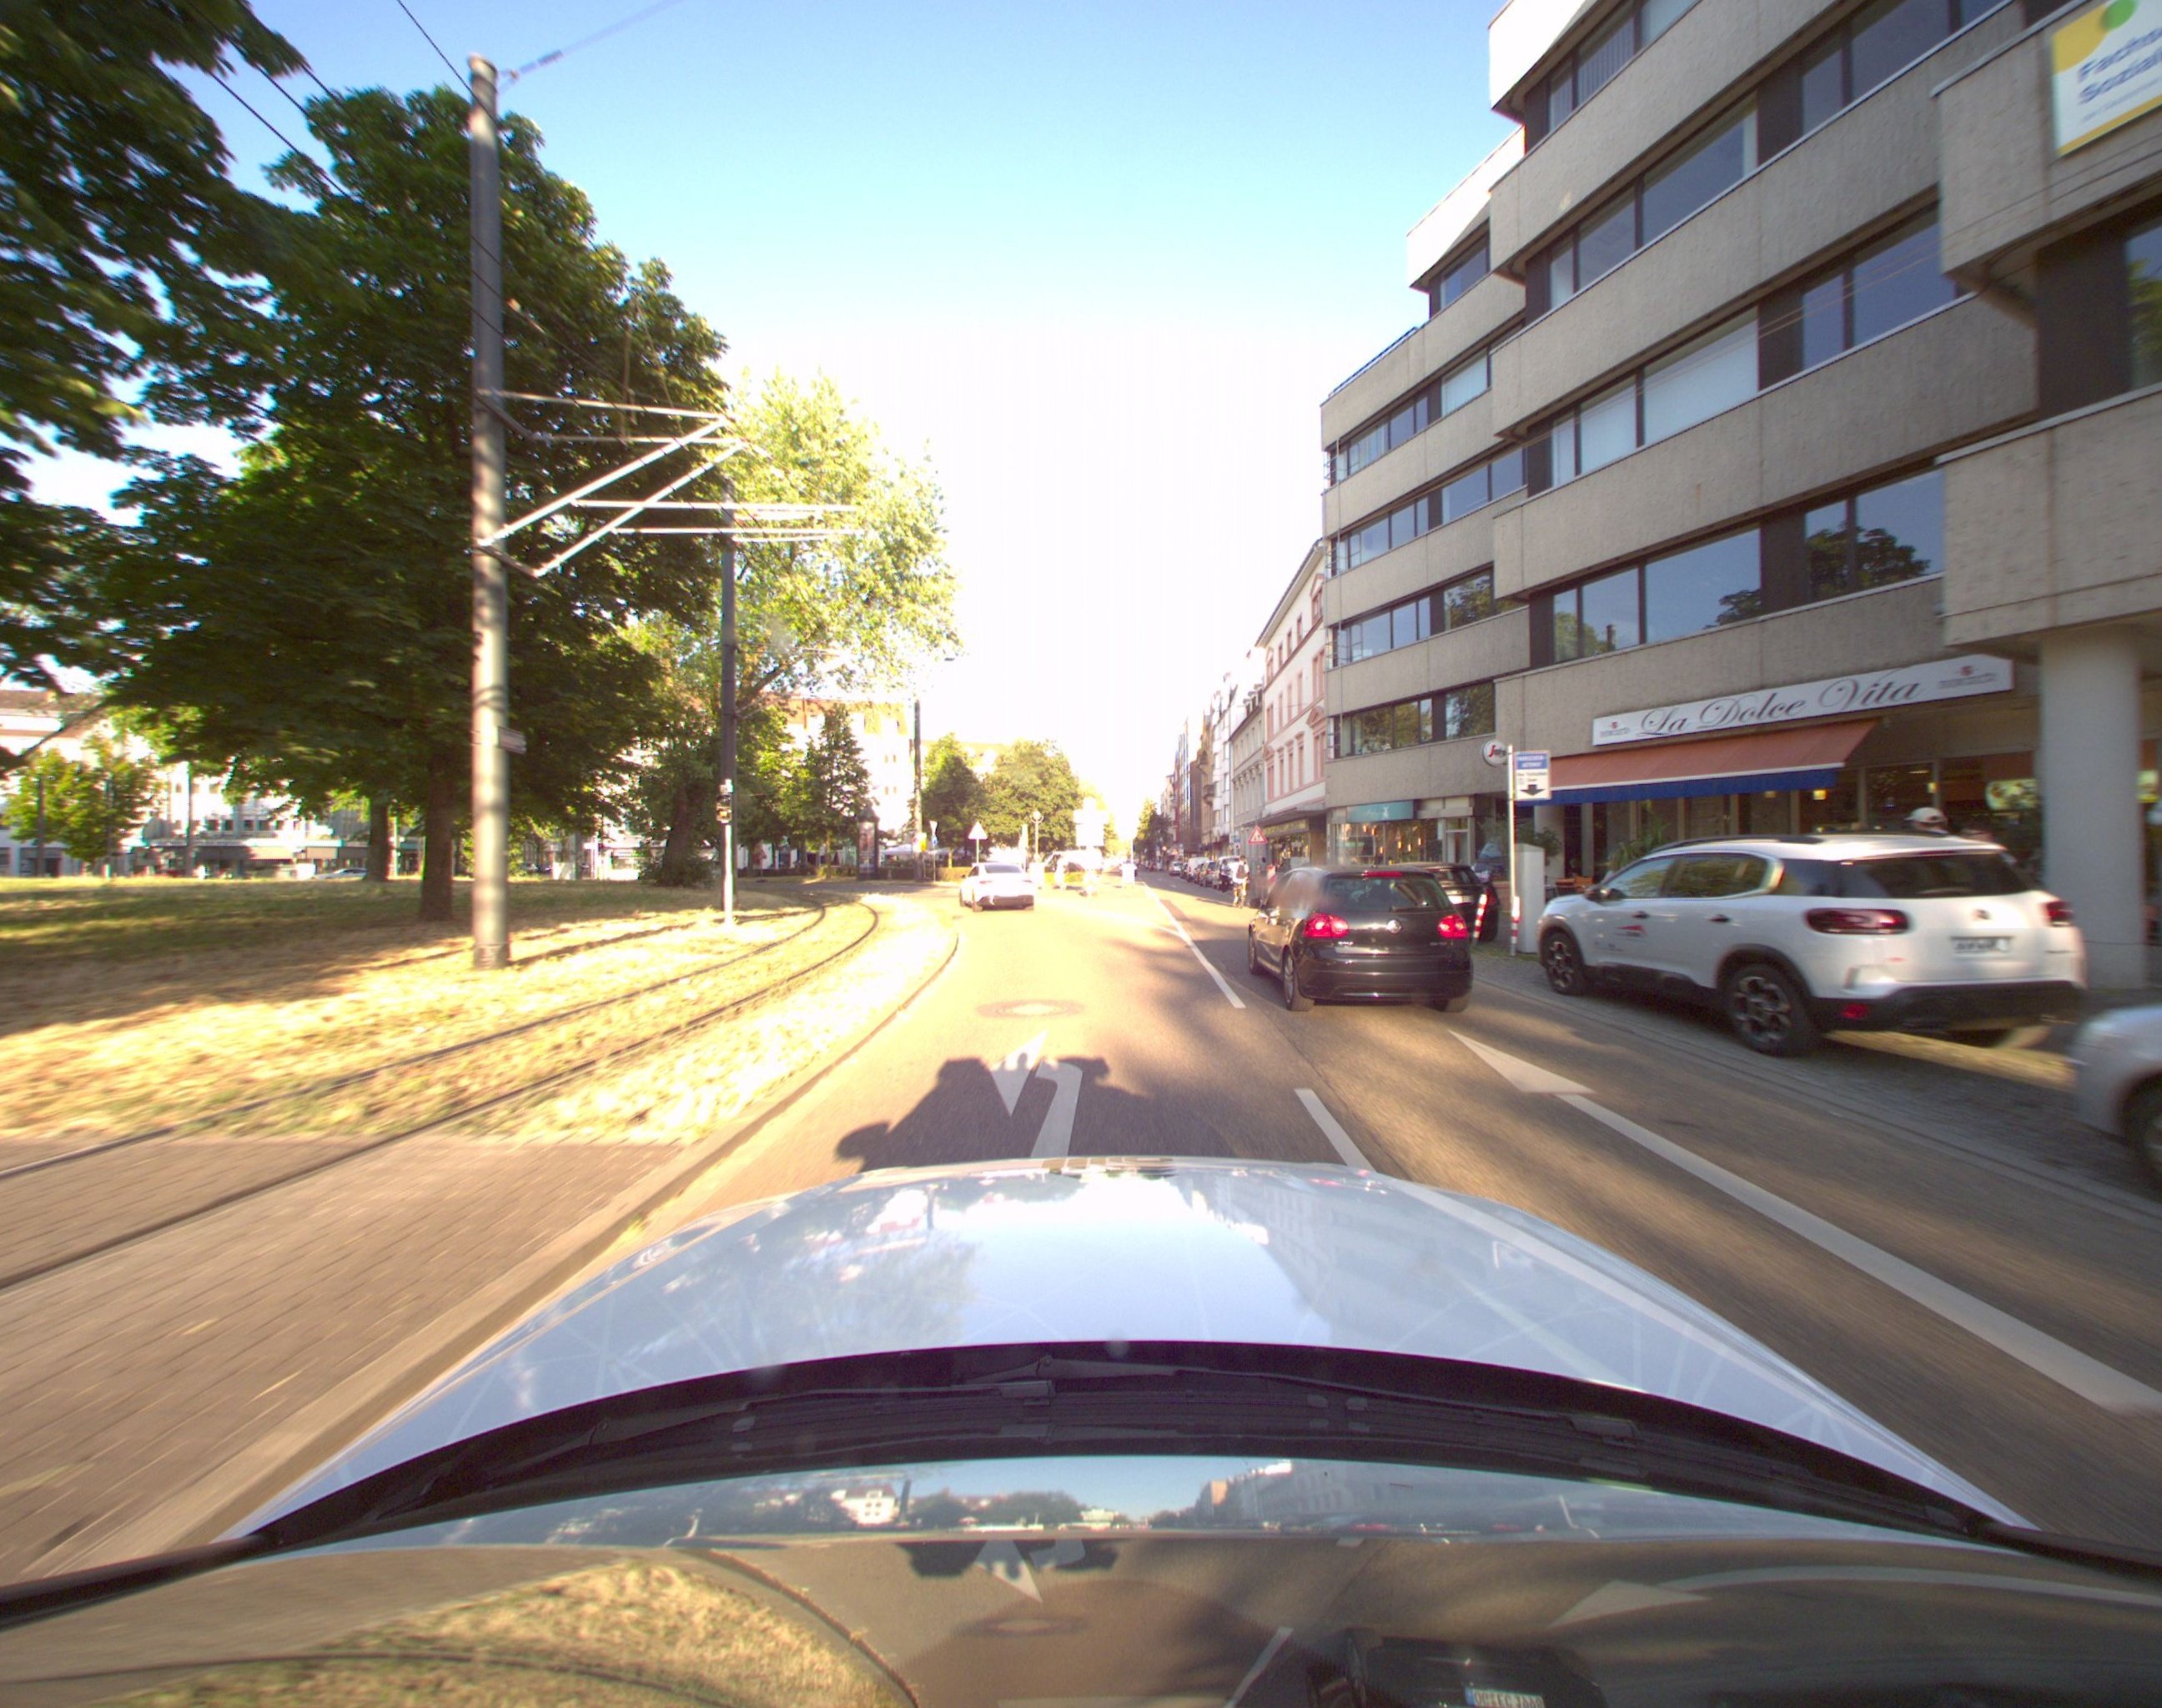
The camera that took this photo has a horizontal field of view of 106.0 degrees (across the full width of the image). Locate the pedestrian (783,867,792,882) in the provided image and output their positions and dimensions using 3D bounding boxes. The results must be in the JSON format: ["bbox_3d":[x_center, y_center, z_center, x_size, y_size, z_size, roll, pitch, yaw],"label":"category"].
[{"bbox_3d":[-27.862,1.933,77.287,0.666,1.352,0.657,0,-1,-9],"label":"pedestrian"}]

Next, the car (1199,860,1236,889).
[{"bbox_3d":[8.238,1.228,49.532,1.727,1.617,3.919,-2,-1,3],"label":"car"}]

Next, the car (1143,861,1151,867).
[{"bbox_3d":[16.145,2.491,198.789,1.745,1.511,3.546,-2,-1,2],"label":"car"}]

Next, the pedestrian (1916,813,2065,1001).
[{"bbox_3d":[8.898,0.499,7.998,0.619,1.740,0.662,-3,-1,4],"label":"pedestrian"}]

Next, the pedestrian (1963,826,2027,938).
[{"bbox_3d":[14.796,0.448,13.190,0.599,1.760,0.518,1,-1,-21],"label":"pedestrian"}]

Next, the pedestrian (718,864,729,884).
[{"bbox_3d":[-27.481,1.519,62.591,0.587,1.566,0.565,0,-1,37],"label":"pedestrian"}]

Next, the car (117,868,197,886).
[{"bbox_3d":[-78.643,1.955,69.395,4.001,1.464,1.986,0,-1,-21],"label":"car"}]

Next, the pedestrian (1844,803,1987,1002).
[{"bbox_3d":[8.241,0.464,8.072,0.619,1.858,0.662,-3,-1,4],"label":"pedestrian"}]

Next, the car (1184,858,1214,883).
[{"bbox_3d":[8.951,1.240,62.007,1.917,1.841,4.021,-2,-1,4],"label":"car"}]

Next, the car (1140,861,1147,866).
[{"bbox_3d":[18.527,2.834,240.893,1.745,1.511,3.546,-2,-1,2],"label":"car"}]

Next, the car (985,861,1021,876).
[{"bbox_3d":[-9.323,1.716,97.326,4.001,1.782,1.840,0,-1,-20],"label":"car"}]

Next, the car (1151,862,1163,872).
[{"bbox_3d":[12.561,2.139,135.296,1.745,1.511,3.546,-2,-1,2],"label":"car"}]

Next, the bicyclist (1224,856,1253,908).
[{"bbox_3d":[5.093,0.896,26.393,0.774,1.618,1.025,1,-1,2],"label":"bicyclist"}]

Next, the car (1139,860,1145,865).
[{"bbox_3d":[18.997,2.782,255.123,1.745,1.511,3.546,-2,-1,2],"label":"car"}]

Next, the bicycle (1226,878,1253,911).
[{"bbox_3d":[5.120,1.294,26.424,0.576,0.987,1.937,1,-1,3],"label":"bicycle"}]

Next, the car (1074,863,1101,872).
[{"bbox_3d":[0.924,1.833,111.107,3.381,1.287,1.665,1,0,-13],"label":"car"}]

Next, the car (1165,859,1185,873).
[{"bbox_3d":[10.159,1.294,88.034,1.745,1.511,3.546,-2,-1,2],"label":"car"}]

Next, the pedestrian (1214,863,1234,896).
[{"bbox_3d":[6.862,1.200,39.111,0.729,1.555,0.636,-1,-1,39],"label":"pedestrian"}]

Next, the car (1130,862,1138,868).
[{"bbox_3d":[12.226,2.469,189.434,1.661,1.287,3.389,1,0,1],"label":"car"}]

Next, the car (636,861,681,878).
[{"bbox_3d":[-40.664,1.468,78.460,3.625,1.552,1.651,0,-1,-20],"label":"car"}]

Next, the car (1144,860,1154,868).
[{"bbox_3d":[14.046,2.126,168.026,1.745,1.511,3.546,-2,-1,2],"label":"car"}]

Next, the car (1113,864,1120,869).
[{"bbox_3d":[10.034,3.490,230.096,1.659,1.287,3.393,1,0,4],"label":"car"}]

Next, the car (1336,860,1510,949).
[{"bbox_3d":[6.402,0.874,15.735,1.657,1.441,3.821,-3,-1,-1],"label":"car"}]

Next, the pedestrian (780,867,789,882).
[{"bbox_3d":[-27.760,1.924,76.333,0.666,1.352,0.657,0,-1,-9],"label":"pedestrian"}]

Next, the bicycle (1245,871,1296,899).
[{"bbox_3d":[7.540,1.243,32.473,1.829,1.045,0.584,-3,0,33],"label":"bicycle"}]

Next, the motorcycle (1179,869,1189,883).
[{"bbox_3d":[8.991,1.903,71.106,0.486,1.174,1.605,-3,0,-4],"label":"motorcycle"}]

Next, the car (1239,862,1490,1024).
[{"bbox_3d":[2.975,0.823,9.481,1.740,1.461,4.107,0,-1,4],"label":"car"}]

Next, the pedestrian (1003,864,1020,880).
[{"bbox_3d":[-5.362,1.356,62.518,1.102,1.226,0.853,1,-1,-23],"label":"pedestrian"}]

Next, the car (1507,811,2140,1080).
[{"bbox_3d":[6.137,0.628,7.694,1.861,1.714,4.505,-3,-1,1],"label":"car"}]

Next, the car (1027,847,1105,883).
[{"bbox_3d":[-1.125,0.823,61.862,5.536,2.595,2.138,0,-1,-24],"label":"car"}]

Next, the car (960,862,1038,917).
[{"bbox_3d":[-2.646,1.025,25.465,1.867,1.441,4.178,-2,1,-13],"label":"car"}]

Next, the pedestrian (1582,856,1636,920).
[{"bbox_3d":[10.997,0.693,16.971,0.654,1.281,0.656,-2,-1,-28],"label":"pedestrian"}]

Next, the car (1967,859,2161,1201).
[{"bbox_3d":[5.412,0.740,2.324,1.655,1.441,3.858,-3,-1,3],"label":"car"}]

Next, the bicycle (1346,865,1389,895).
[{"bbox_3d":[11.519,1.039,32.723,0.518,1.119,1.505,-3,-1,-41],"label":"bicycle"}]

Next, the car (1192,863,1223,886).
[{"bbox_3d":[8.575,1.396,55.393,1.727,1.462,3.587,-2,-1,3],"label":"car"}]

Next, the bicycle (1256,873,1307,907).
[{"bbox_3d":[7.015,1.270,28.560,1.586,1.119,0.616,-3,0,36],"label":"bicycle"}]

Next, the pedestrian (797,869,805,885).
[{"bbox_3d":[-25.169,2.074,73.287,0.533,1.498,0.659,0,-1,-4],"label":"pedestrian"}]

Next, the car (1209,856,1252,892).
[{"bbox_3d":[8.029,1.047,44.041,1.727,1.800,3.919,-2,-1,3],"label":"car"}]

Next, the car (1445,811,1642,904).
[{"bbox_3d":[13.356,0.069,23.486,5.339,2.442,2.076,-1,-1,-23],"label":"car"}]

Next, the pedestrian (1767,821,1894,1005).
[{"bbox_3d":[7.552,0.577,8.232,0.576,1.760,0.662,-3,-1,4],"label":"pedestrian"}]

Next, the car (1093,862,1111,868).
[{"bbox_3d":[4.299,2.256,168.572,3.381,1.287,1.665,1,0,-13],"label":"car"}]

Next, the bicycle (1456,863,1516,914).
[{"bbox_3d":[10.057,0.839,20.207,1.824,1.119,0.529,-3,0,-37],"label":"bicycle"}]

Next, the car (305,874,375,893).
[{"bbox_3d":[-61.186,2.427,67.323,1.573,1.463,3.977,0,-1,26],"label":"car"}]

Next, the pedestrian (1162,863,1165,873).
[{"bbox_3d":[17.213,2.933,169.399,0.529,1.923,0.542,0,-1,1],"label":"pedestrian"}]

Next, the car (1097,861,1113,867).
[{"bbox_3d":[5.645,2.384,190.708,3.381,1.287,1.665,1,0,-13],"label":"car"}]

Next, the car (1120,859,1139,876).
[{"bbox_3d":[5.272,1.475,88.040,1.985,1.772,4.004,0,0,3],"label":"car"}]

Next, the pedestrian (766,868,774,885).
[{"bbox_3d":[-27.903,2.031,73.104,0.533,1.498,0.659,0,-1,-4],"label":"pedestrian"}]

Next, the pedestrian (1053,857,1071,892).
[{"bbox_3d":[-0.955,1.010,40.057,0.858,1.706,0.940,1,-1,-4],"label":"pedestrian"}]

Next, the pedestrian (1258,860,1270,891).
[{"bbox_3d":[9.805,1.139,43.655,0.500,1.625,0.497,1,-1,3],"label":"pedestrian"}]
